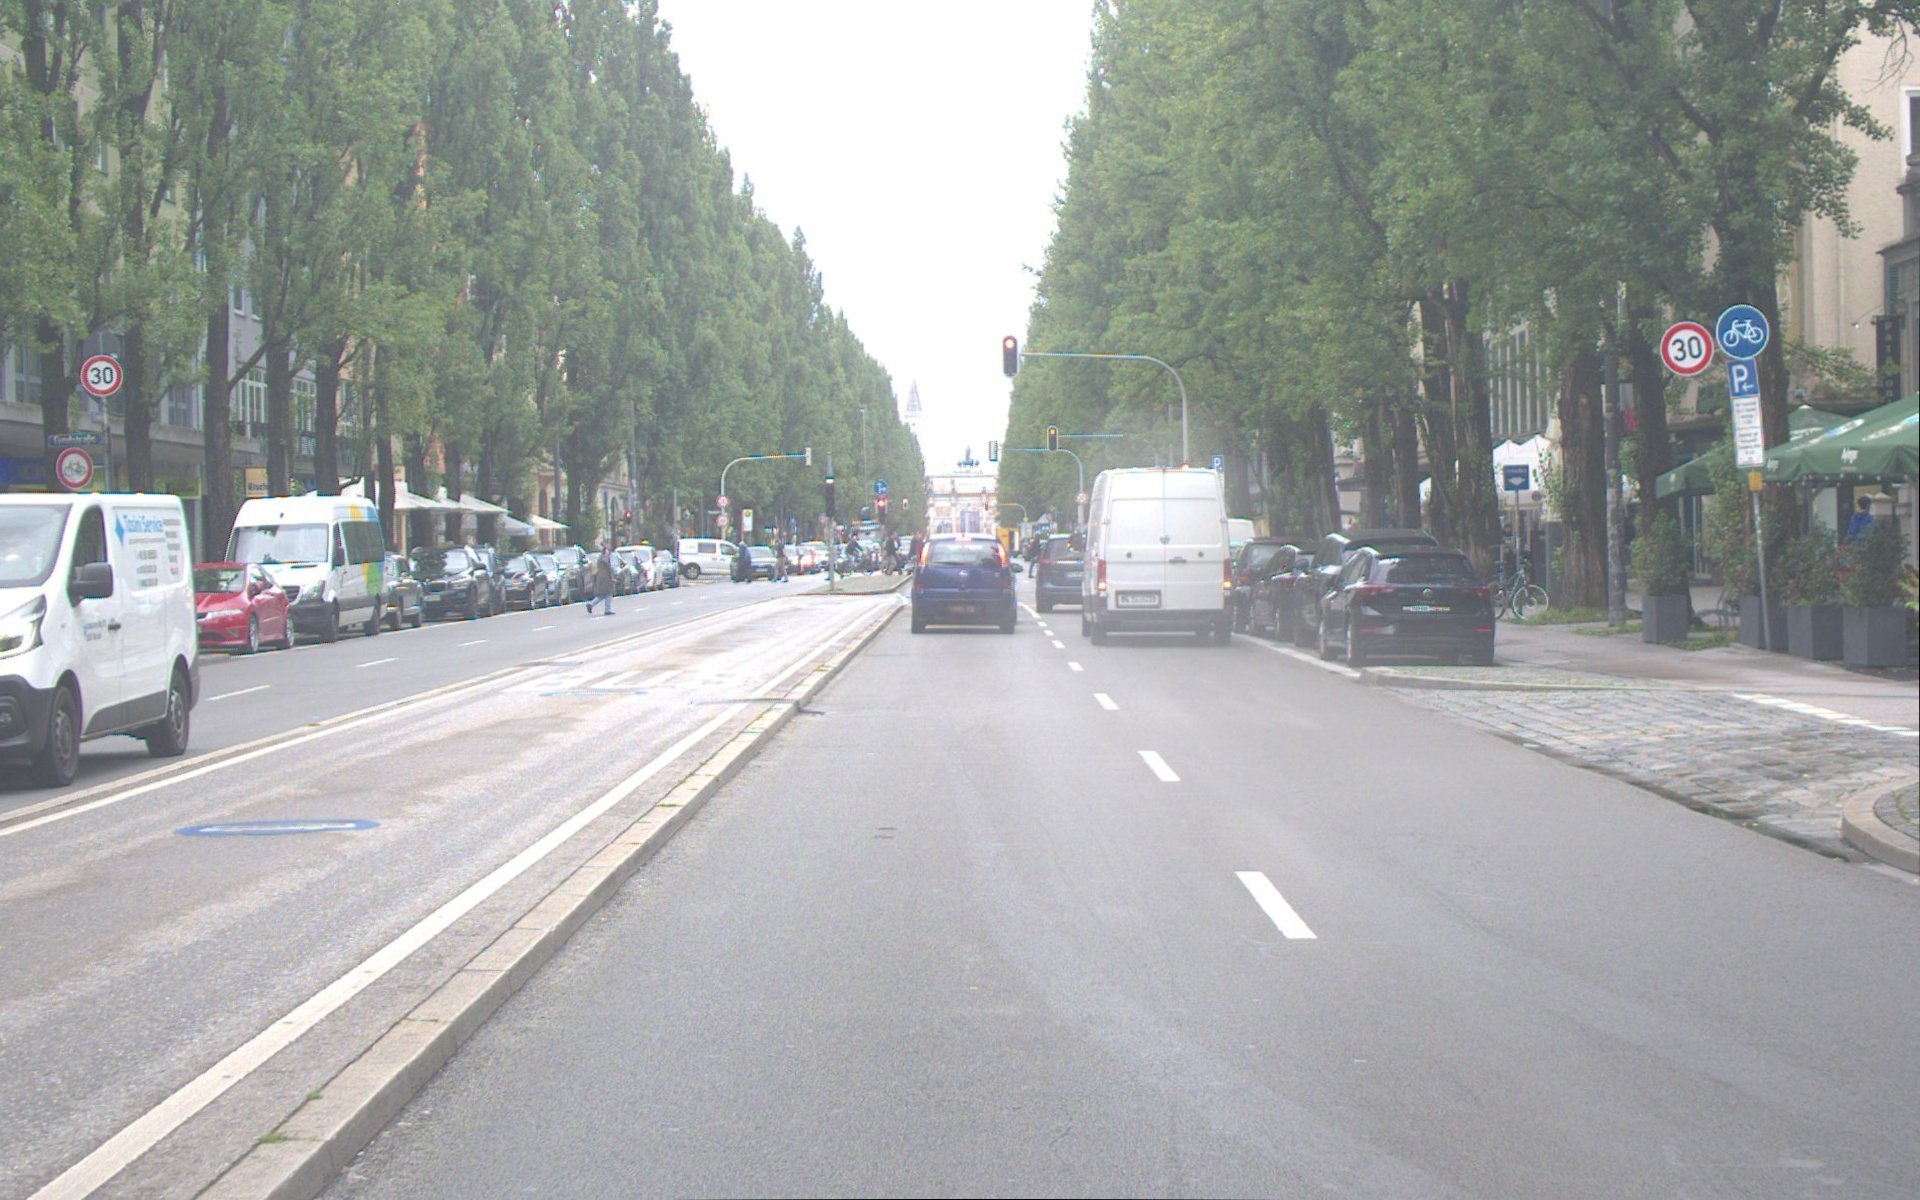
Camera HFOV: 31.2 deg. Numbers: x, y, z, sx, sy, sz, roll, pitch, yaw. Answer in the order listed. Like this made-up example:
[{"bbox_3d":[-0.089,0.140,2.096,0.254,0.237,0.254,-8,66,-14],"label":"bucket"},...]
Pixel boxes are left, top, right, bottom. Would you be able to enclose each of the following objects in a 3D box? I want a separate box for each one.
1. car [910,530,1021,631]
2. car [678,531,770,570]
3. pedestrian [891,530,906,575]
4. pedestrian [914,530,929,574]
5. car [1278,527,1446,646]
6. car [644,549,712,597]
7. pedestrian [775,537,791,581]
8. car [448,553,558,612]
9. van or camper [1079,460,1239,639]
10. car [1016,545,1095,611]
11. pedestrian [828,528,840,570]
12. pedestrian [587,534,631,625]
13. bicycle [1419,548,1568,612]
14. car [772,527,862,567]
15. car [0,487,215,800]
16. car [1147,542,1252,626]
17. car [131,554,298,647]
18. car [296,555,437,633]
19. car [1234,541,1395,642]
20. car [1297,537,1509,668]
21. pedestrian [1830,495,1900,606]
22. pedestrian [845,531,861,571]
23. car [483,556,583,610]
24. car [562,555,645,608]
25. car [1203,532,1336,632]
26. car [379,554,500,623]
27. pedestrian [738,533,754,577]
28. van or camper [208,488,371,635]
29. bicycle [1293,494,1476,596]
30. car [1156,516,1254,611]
[{"bbox_3d":[0.110,-0.316,56.487,1.759,1.614,3.747,0,0,1],"label":"car"},{"bbox_3d":[-10.638,-2.223,154.916,3.986,1.739,2.000,0,0,-8],"label":"car"},{"bbox_3d":[-2.393,-1.850,133.758,0.553,1.710,0.493,-2,1,1],"label":"pedestrian"},{"bbox_3d":[-1.509,-1.883,134.925,0.553,1.710,0.493,-2,1,1],"label":"pedestrian"},{"bbox_3d":[5.456,-0.214,47.082,1.785,1.519,3.941,-1,1,0],"label":"car"},{"bbox_3d":[-9.998,-0.960,122.122,1.817,1.526,3.797,-4,0,3],"label":"car"},{"bbox_3d":[-6.843,-1.587,133.028,0.553,1.710,0.493,-2,1,1],"label":"pedestrian"},{"bbox_3d":[-11.304,-0.429,85.280,1.994,1.415,3.999,0,0,3],"label":"car"},{"bbox_3d":[2.856,-0.689,50.118,2.034,2.467,4.000,-1,0,0],"label":"van or camper"},{"bbox_3d":[1.965,-0.470,71.444,1.503,1.308,3.283,-1,1,0],"label":"car"},{"bbox_3d":[-4.994,-2.022,136.340,0.429,1.660,0.387,-1,1,-7],"label":"pedestrian"},{"bbox_3d":[-7.852,-0.468,76.883,0.809,2.007,0.720,-1,1,7],"label":"pedestrian"},{"bbox_3d":[8.824,-0.338,57.004,0.759,1.020,2.734,-2,1,-35],"label":"bicycle"},{"bbox_3d":[-6.559,-2.452,157.494,3.986,1.739,2.000,-1,1,-6],"label":"car"},{"bbox_3d":[-6.706,0.298,23.703,1.993,1.927,4.918,-3,0,0],"label":"car"},{"bbox_3d":[4.683,-0.313,67.759,1.762,1.590,4.000,0,0,0],"label":"car"},{"bbox_3d":[-11.729,0.002,54.300,1.795,1.424,4.000,0,0,0],"label":"car"},{"bbox_3d":[-11.555,-0.114,67.165,1.993,1.470,4.000,0,0,1],"label":"car"},{"bbox_3d":[5.302,-0.129,51.862,1.993,1.459,4.000,0,0,0],"label":"car"},{"bbox_3d":[5.298,-0.011,41.610,1.943,1.462,4.000,-1,1,-1],"label":"car"},{"bbox_3d":[14.643,-0.803,55.614,0.814,1.749,0.931,-1,1,32],"label":"pedestrian"},{"bbox_3d":[-5.386,-2.452,173.355,0.770,2.007,0.897,0,0,0],"label":"pedestrian"},{"bbox_3d":[-11.523,-0.453,92.981,1.994,1.415,3.999,0,0,3],"label":"car"},{"bbox_3d":[-10.709,-0.578,103.594,1.930,1.481,4.110,-2,1,2],"label":"car"},{"bbox_3d":[5.050,-0.291,56.521,1.804,1.590,4.000,0,0,0],"label":"car"},{"bbox_3d":[-11.482,-0.250,76.060,1.993,1.481,4.000,0,0,1],"label":"car"},{"bbox_3d":[-8.357,-1.751,134.390,0.553,1.710,0.493,-2,1,1],"label":"pedestrian"},{"bbox_3d":[-11.677,-0.694,60.158,1.993,2.450,4.251,-1,1,0],"label":"van or camper"},{"bbox_3d":[8.428,-1.080,68.158,3.550,2.007,1.296,0,0,9],"label":"bicycle"},{"bbox_3d":[5.229,-0.775,73.812,1.804,1.985,4.000,0,0,0],"label":"car"}]
